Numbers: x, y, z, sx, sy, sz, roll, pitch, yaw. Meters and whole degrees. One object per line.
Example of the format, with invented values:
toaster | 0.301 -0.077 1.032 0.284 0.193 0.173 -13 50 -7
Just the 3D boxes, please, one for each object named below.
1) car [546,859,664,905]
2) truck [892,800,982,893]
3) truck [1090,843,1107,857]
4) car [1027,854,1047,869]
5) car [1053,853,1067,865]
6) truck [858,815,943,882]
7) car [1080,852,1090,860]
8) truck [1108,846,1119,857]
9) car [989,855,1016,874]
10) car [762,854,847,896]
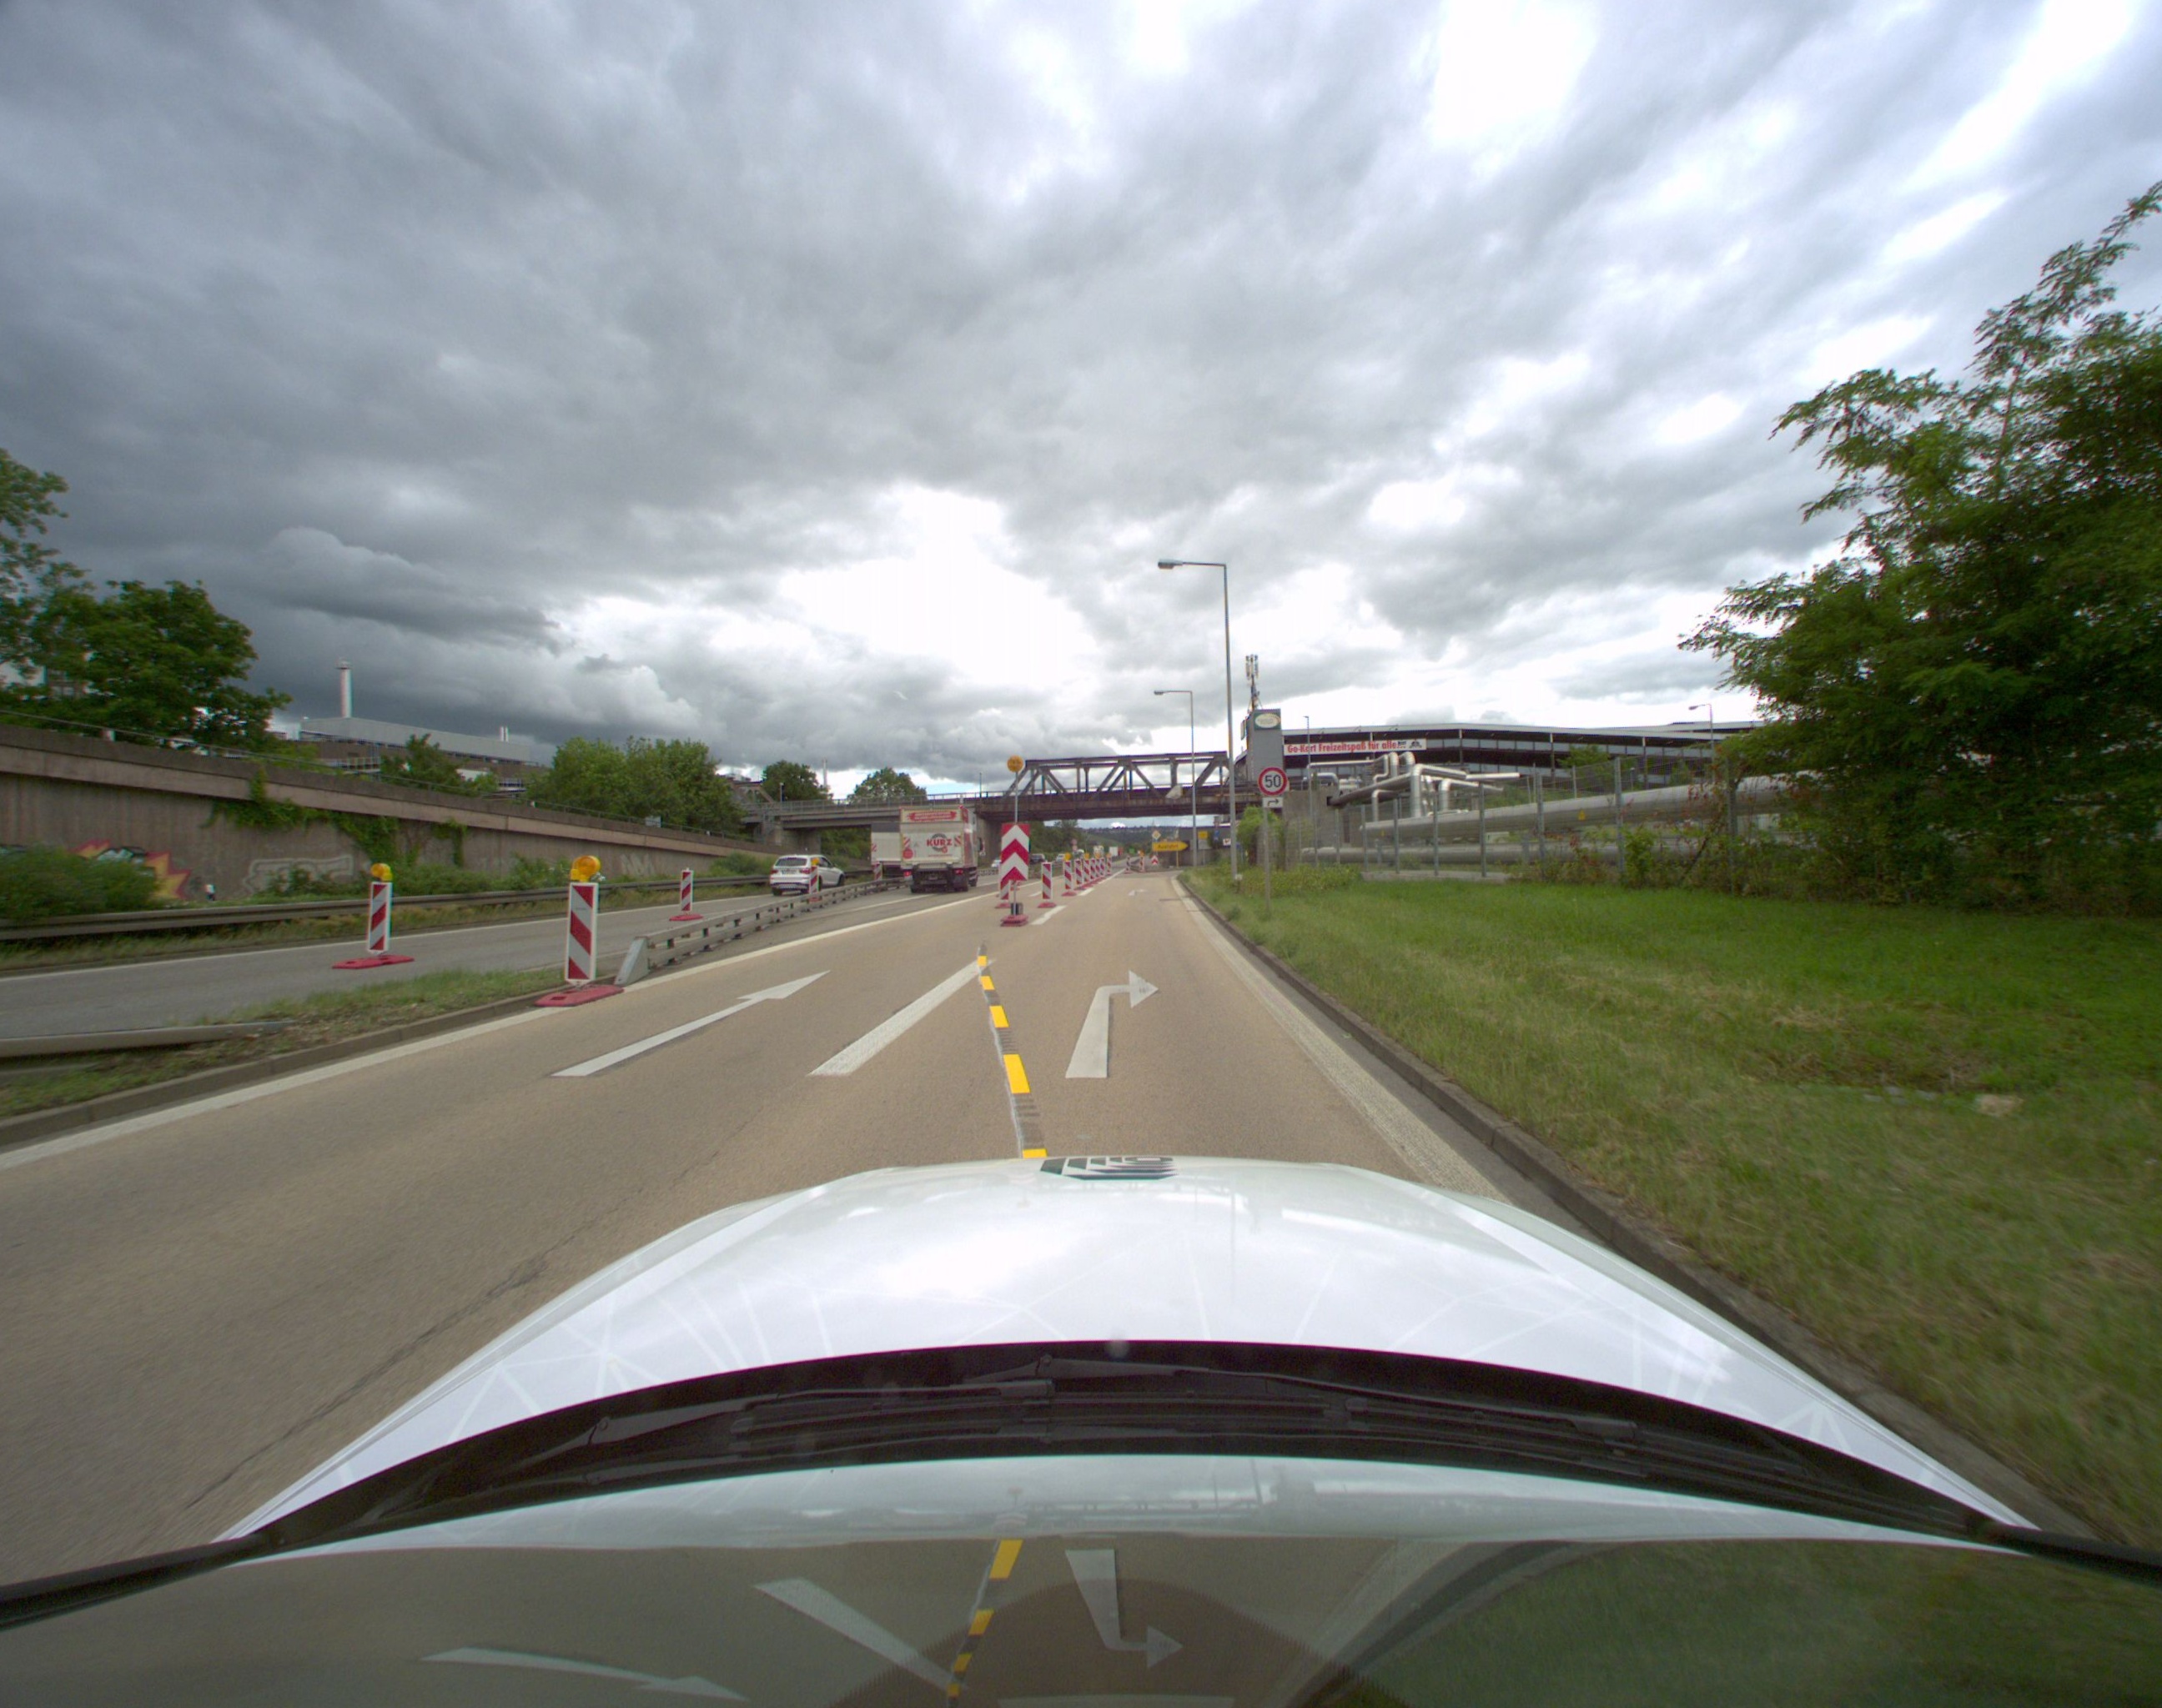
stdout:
car | -18.338 1.041 31.647 1.846 1.640 4.296 -1 -1 4
truck | -6.294 -0.293 37.214 2.948 3.629 10.138 -1 0 -4
truck | 4.677 -1.063 213.673 3.702 3.645 7.739 -1 0 5
car | -5.597 0.923 104.353 1.985 1.759 4.004 -2 -1 4
car | -3.386 0.765 131.050 1.986 1.816 4.002 -1 0 2
truck | -10.584 -0.254 48.729 2.983 3.556 7.744 -2 -1 2
car | 0.916 0.452 171.649 1.771 1.596 3.755 -1 0 5
truck | 9.322 -0.816 233.658 2.668 3.140 6.141 0 0 5
car | -7.691 1.014 80.181 1.984 1.759 4.005 -2 -1 4
car | -11.581 0.838 34.452 1.846 1.640 4.296 -1 -1 4
